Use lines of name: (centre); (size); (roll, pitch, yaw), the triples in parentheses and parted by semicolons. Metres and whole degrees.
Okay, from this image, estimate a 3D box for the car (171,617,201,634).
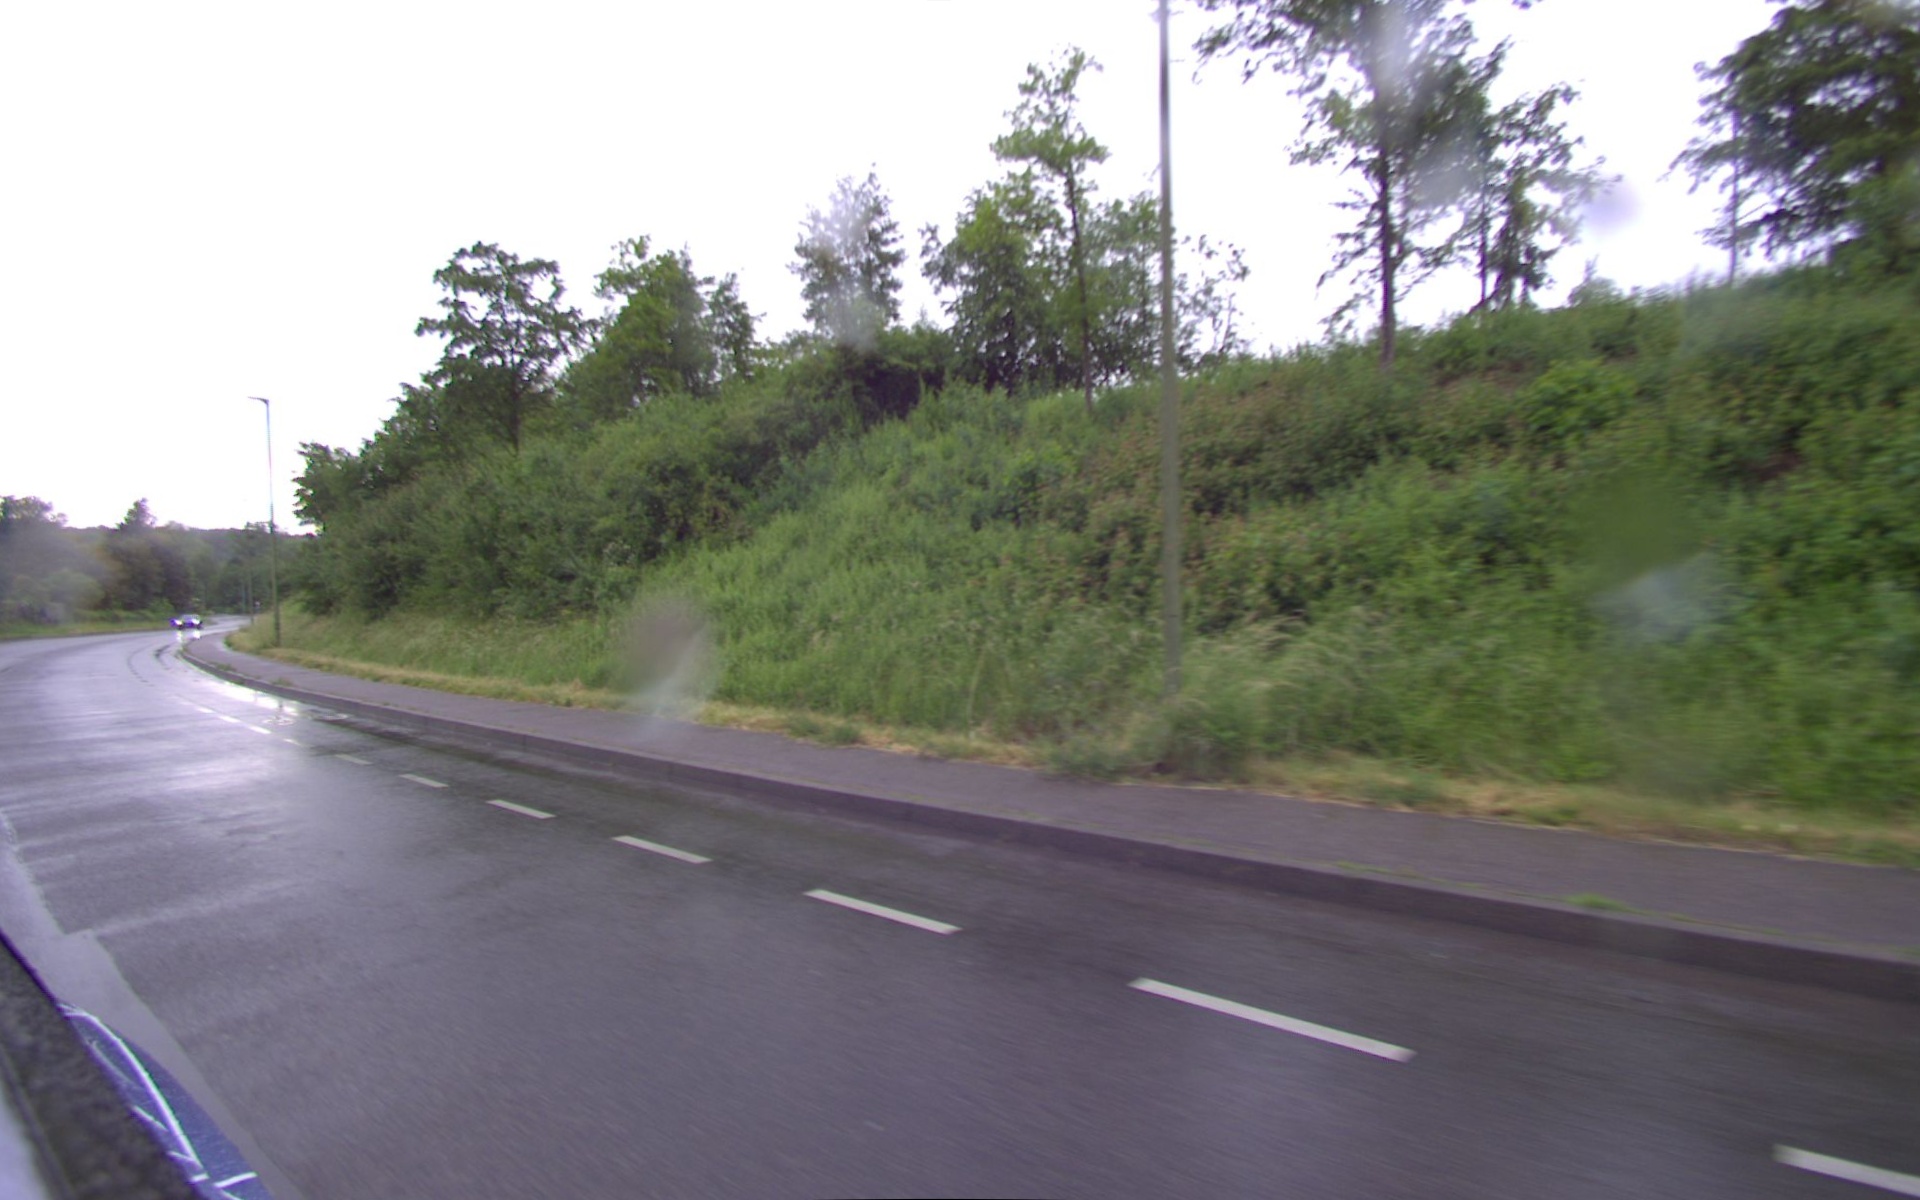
car: (-75.951, 2.472, 99.373); (1.849, 1.618, 4.012); (0, -1, -30)
